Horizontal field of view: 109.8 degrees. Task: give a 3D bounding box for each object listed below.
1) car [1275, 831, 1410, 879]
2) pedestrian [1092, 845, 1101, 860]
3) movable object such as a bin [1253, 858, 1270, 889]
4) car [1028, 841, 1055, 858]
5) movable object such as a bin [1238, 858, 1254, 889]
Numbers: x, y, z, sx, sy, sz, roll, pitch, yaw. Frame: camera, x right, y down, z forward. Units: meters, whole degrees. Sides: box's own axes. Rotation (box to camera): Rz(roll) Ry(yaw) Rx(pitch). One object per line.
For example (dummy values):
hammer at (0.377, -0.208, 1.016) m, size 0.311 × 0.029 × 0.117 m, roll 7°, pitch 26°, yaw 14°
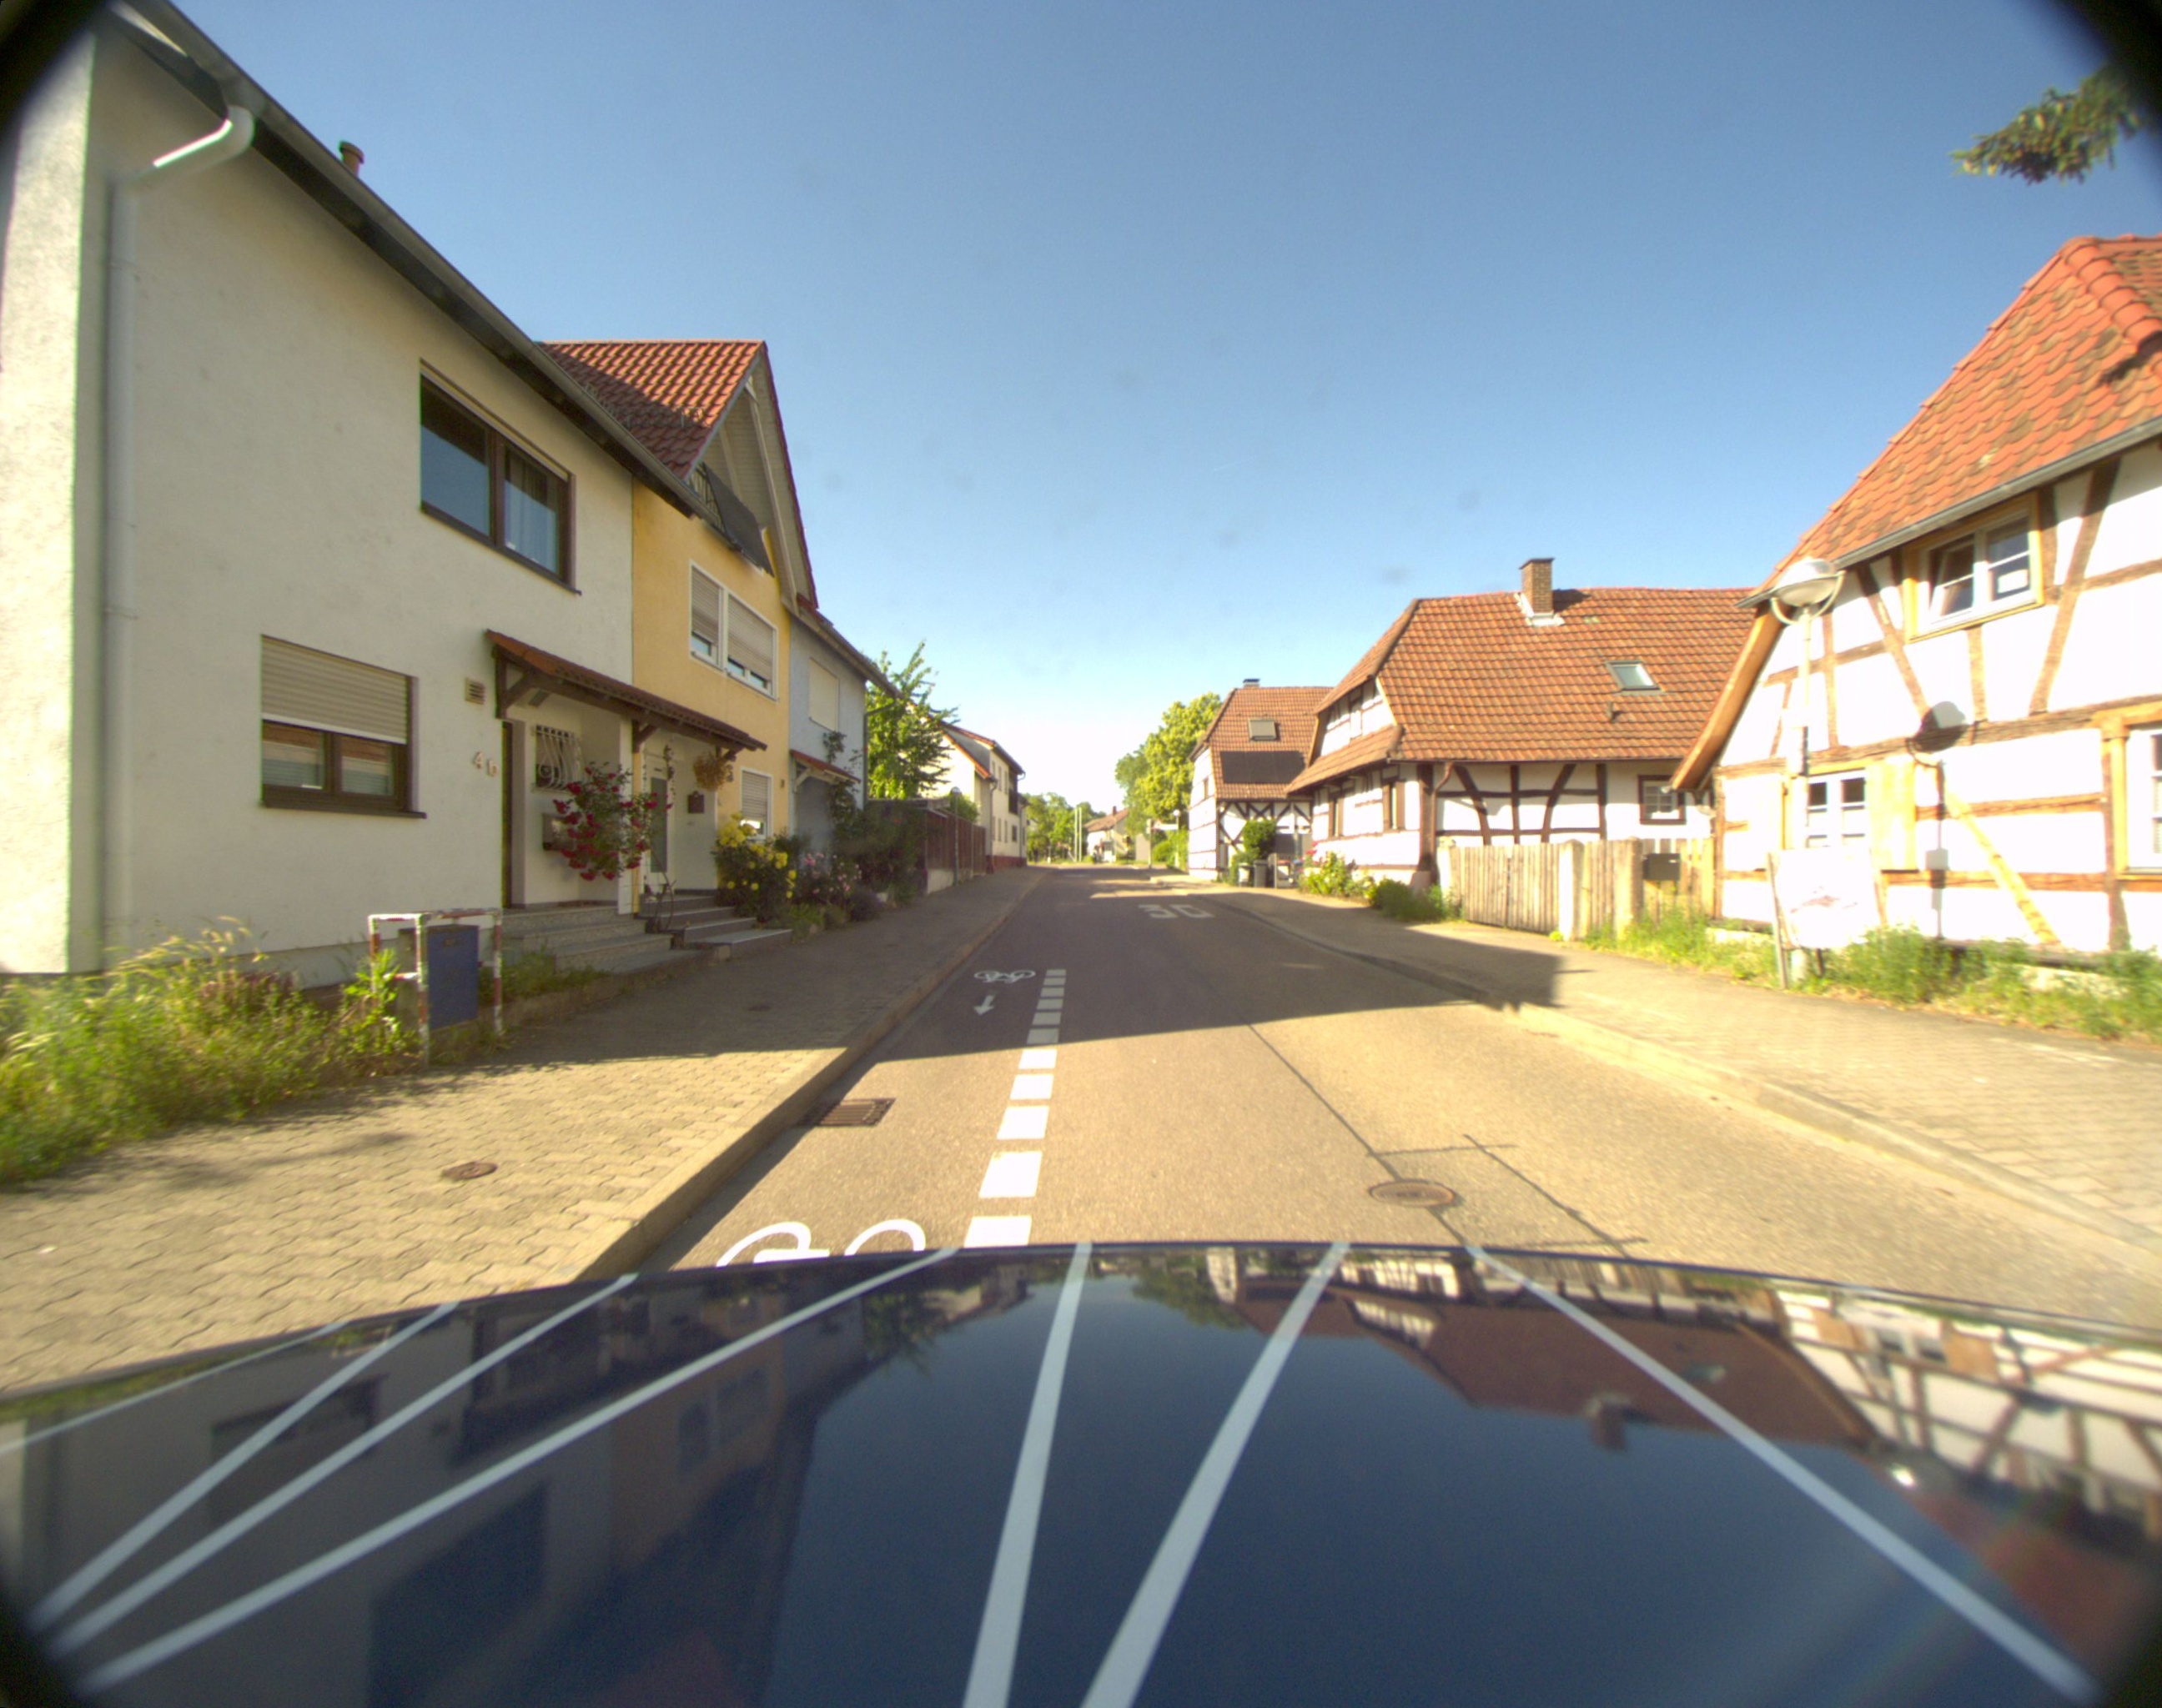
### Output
car at (9.188, 0.022, 26.962) m, size 4.114 × 1.584 × 1.819 m, roll 1°, pitch 2°, yaw 1°
pedestrian at (1.853, -0.202, 90.432) m, size 0.716 × 1.793 × 0.772 m, roll 0°, pitch 2°, yaw 29°
movable object such as a bin at (6.872, 0.744, 28.997) m, size 0.477 × 1.134 × 0.667 m, roll 0°, pitch 2°, yaw 0°
car at (-4.399, -0.502, 83.932) m, size 1.967 × 1.908 × 4.571 m, roll -1°, pitch 0°, yaw -15°
movable object such as a bin at (6.294, 0.745, 28.993) m, size 0.477 × 1.134 × 0.667 m, roll 0°, pitch 2°, yaw 0°
